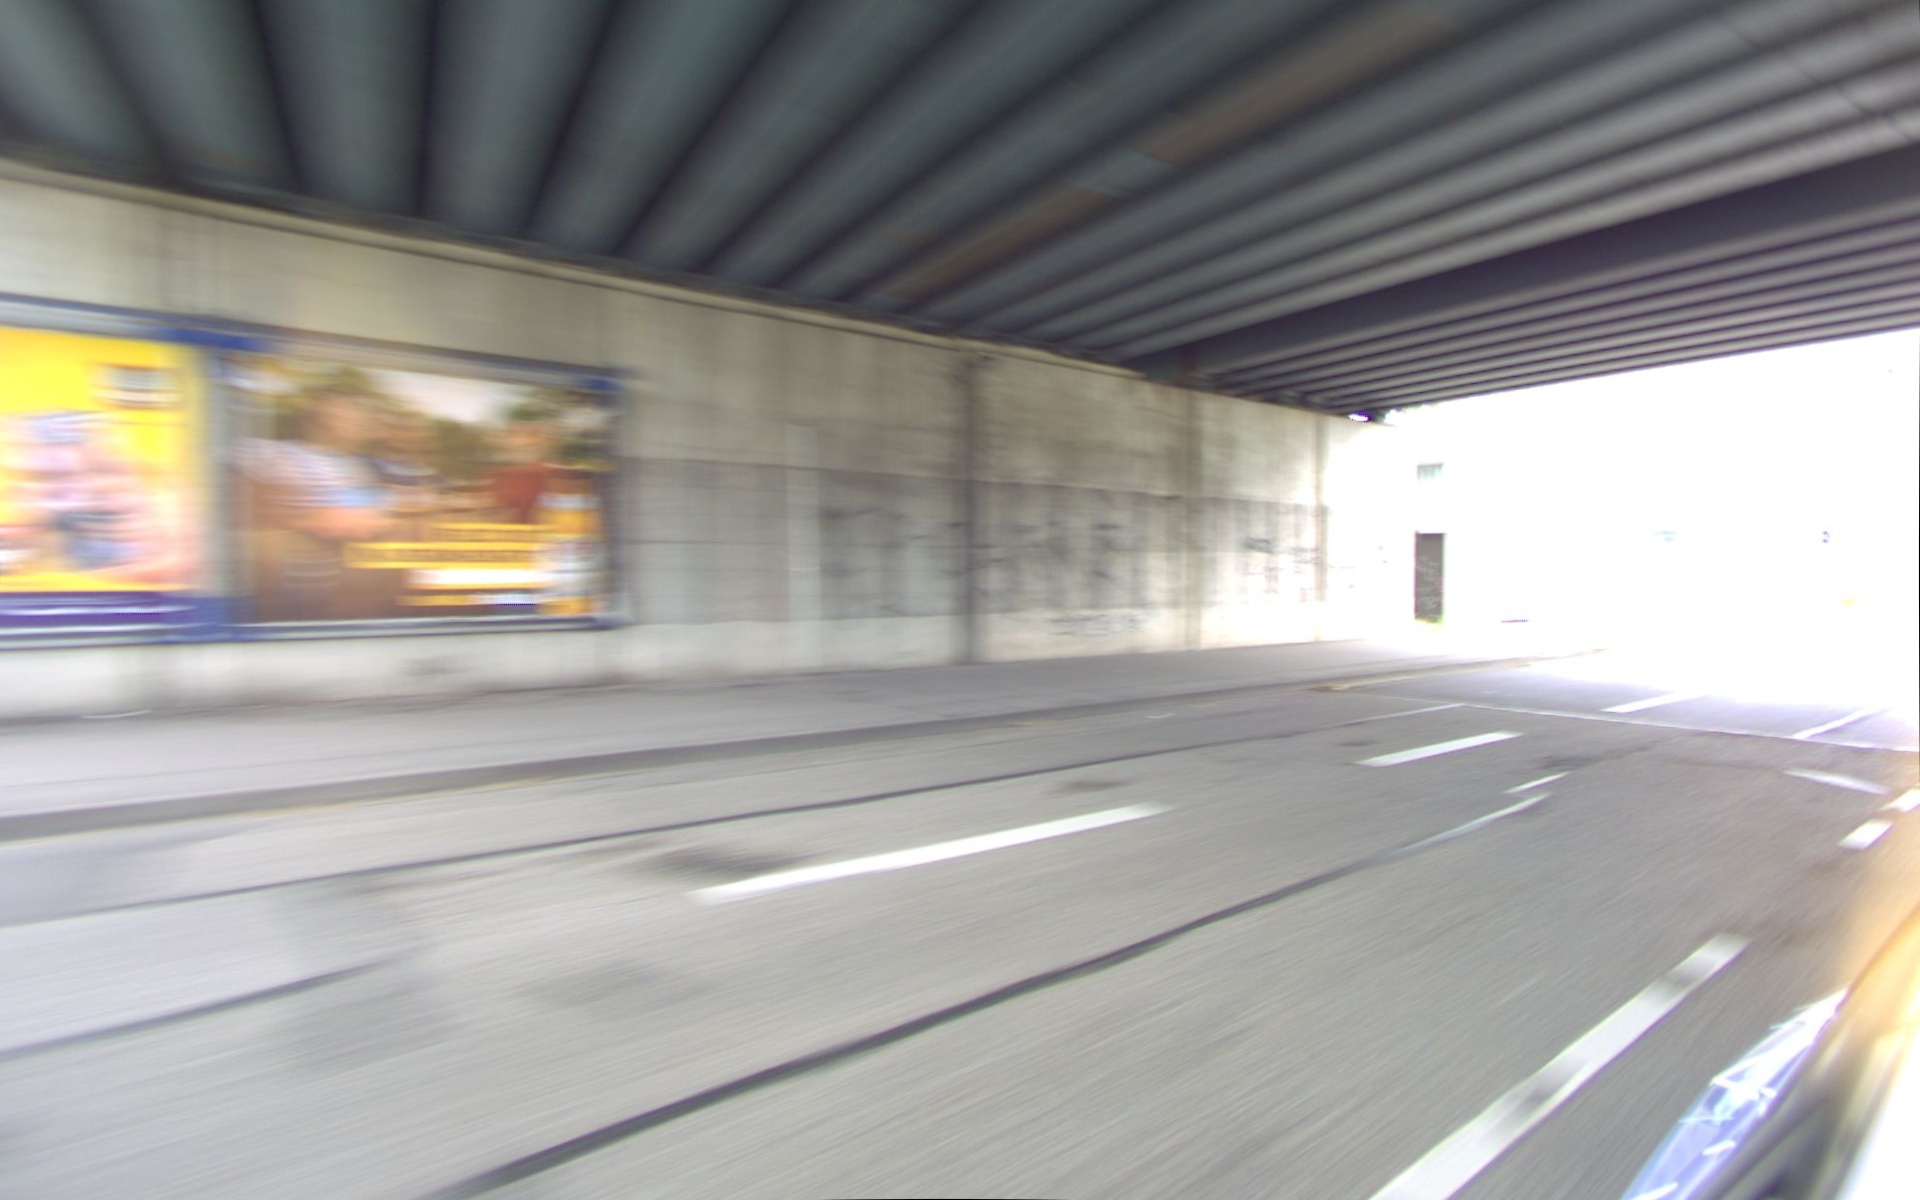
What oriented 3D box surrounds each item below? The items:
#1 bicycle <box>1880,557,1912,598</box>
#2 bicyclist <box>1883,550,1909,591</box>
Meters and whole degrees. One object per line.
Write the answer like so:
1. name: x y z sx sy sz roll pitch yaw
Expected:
1. bicycle: 41.746 -1.029 45.113 2.489 1.795 0.721 -2 3 -41
2. bicyclist: 41.635 -1.327 45.017 0.971 1.790 0.716 -2 3 -40
